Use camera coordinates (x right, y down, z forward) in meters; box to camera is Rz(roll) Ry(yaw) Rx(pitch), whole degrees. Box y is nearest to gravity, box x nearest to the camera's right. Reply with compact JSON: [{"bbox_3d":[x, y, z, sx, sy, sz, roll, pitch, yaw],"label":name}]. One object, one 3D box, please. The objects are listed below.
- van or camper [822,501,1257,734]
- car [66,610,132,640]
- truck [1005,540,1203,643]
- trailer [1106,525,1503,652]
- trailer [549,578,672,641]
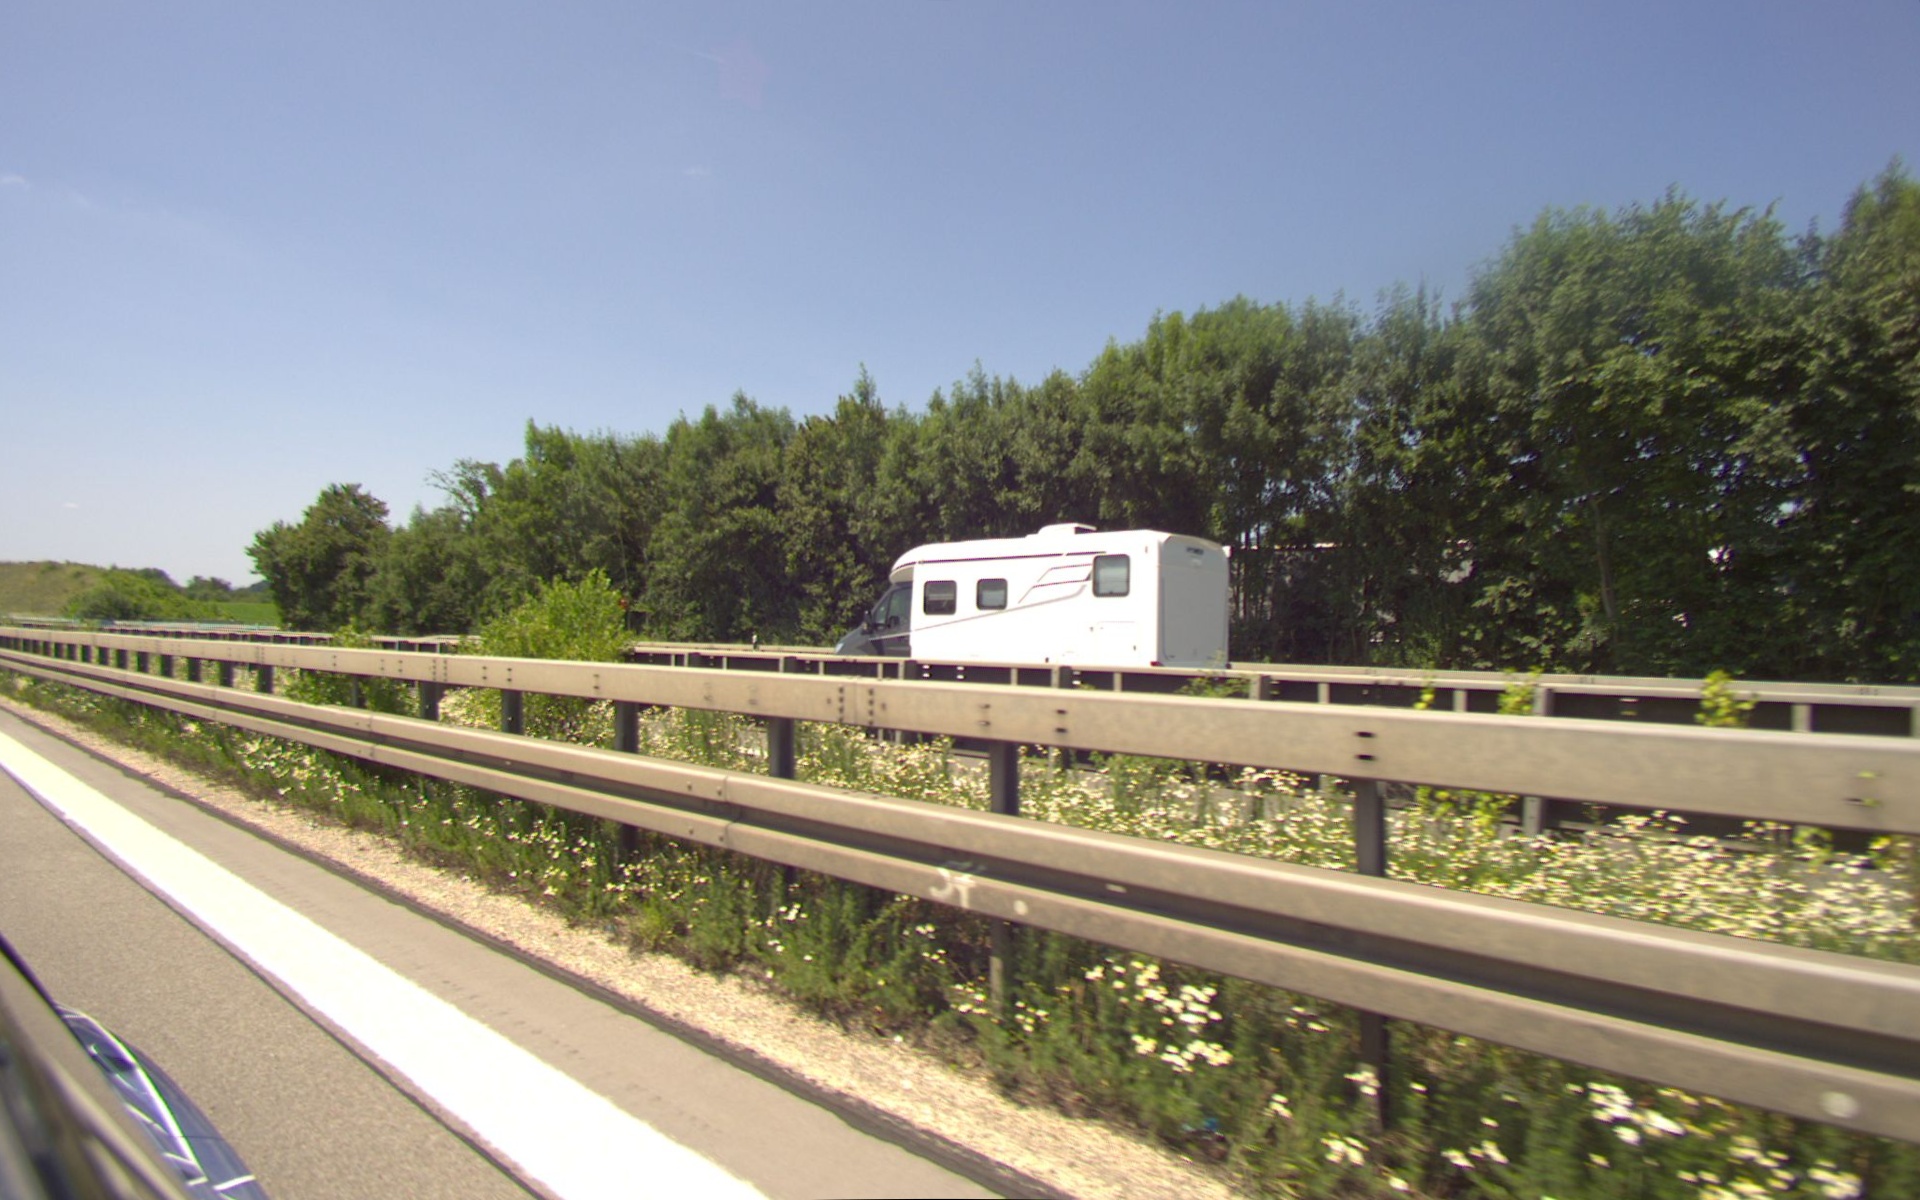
[{"bbox_3d":[0.964,0.297,16.120,6.950,2.991,2.246,-1,-3,42],"label":"van or camper"},{"bbox_3d":[-40.302,1.147,47.344,3.998,1.320,1.781,0,0,41],"label":"car"},{"bbox_3d":[5.477,-0.301,39.724,7.898,3.675,1.973,0,0,41],"label":"truck"},{"bbox_3d":[11.149,-0.318,34.800,13.177,3.724,1.973,0,0,41],"label":"trailer"},{"bbox_3d":[-21.917,0.539,62.961,11.100,3.628,1.973,0,0,41],"label":"trailer"}]
